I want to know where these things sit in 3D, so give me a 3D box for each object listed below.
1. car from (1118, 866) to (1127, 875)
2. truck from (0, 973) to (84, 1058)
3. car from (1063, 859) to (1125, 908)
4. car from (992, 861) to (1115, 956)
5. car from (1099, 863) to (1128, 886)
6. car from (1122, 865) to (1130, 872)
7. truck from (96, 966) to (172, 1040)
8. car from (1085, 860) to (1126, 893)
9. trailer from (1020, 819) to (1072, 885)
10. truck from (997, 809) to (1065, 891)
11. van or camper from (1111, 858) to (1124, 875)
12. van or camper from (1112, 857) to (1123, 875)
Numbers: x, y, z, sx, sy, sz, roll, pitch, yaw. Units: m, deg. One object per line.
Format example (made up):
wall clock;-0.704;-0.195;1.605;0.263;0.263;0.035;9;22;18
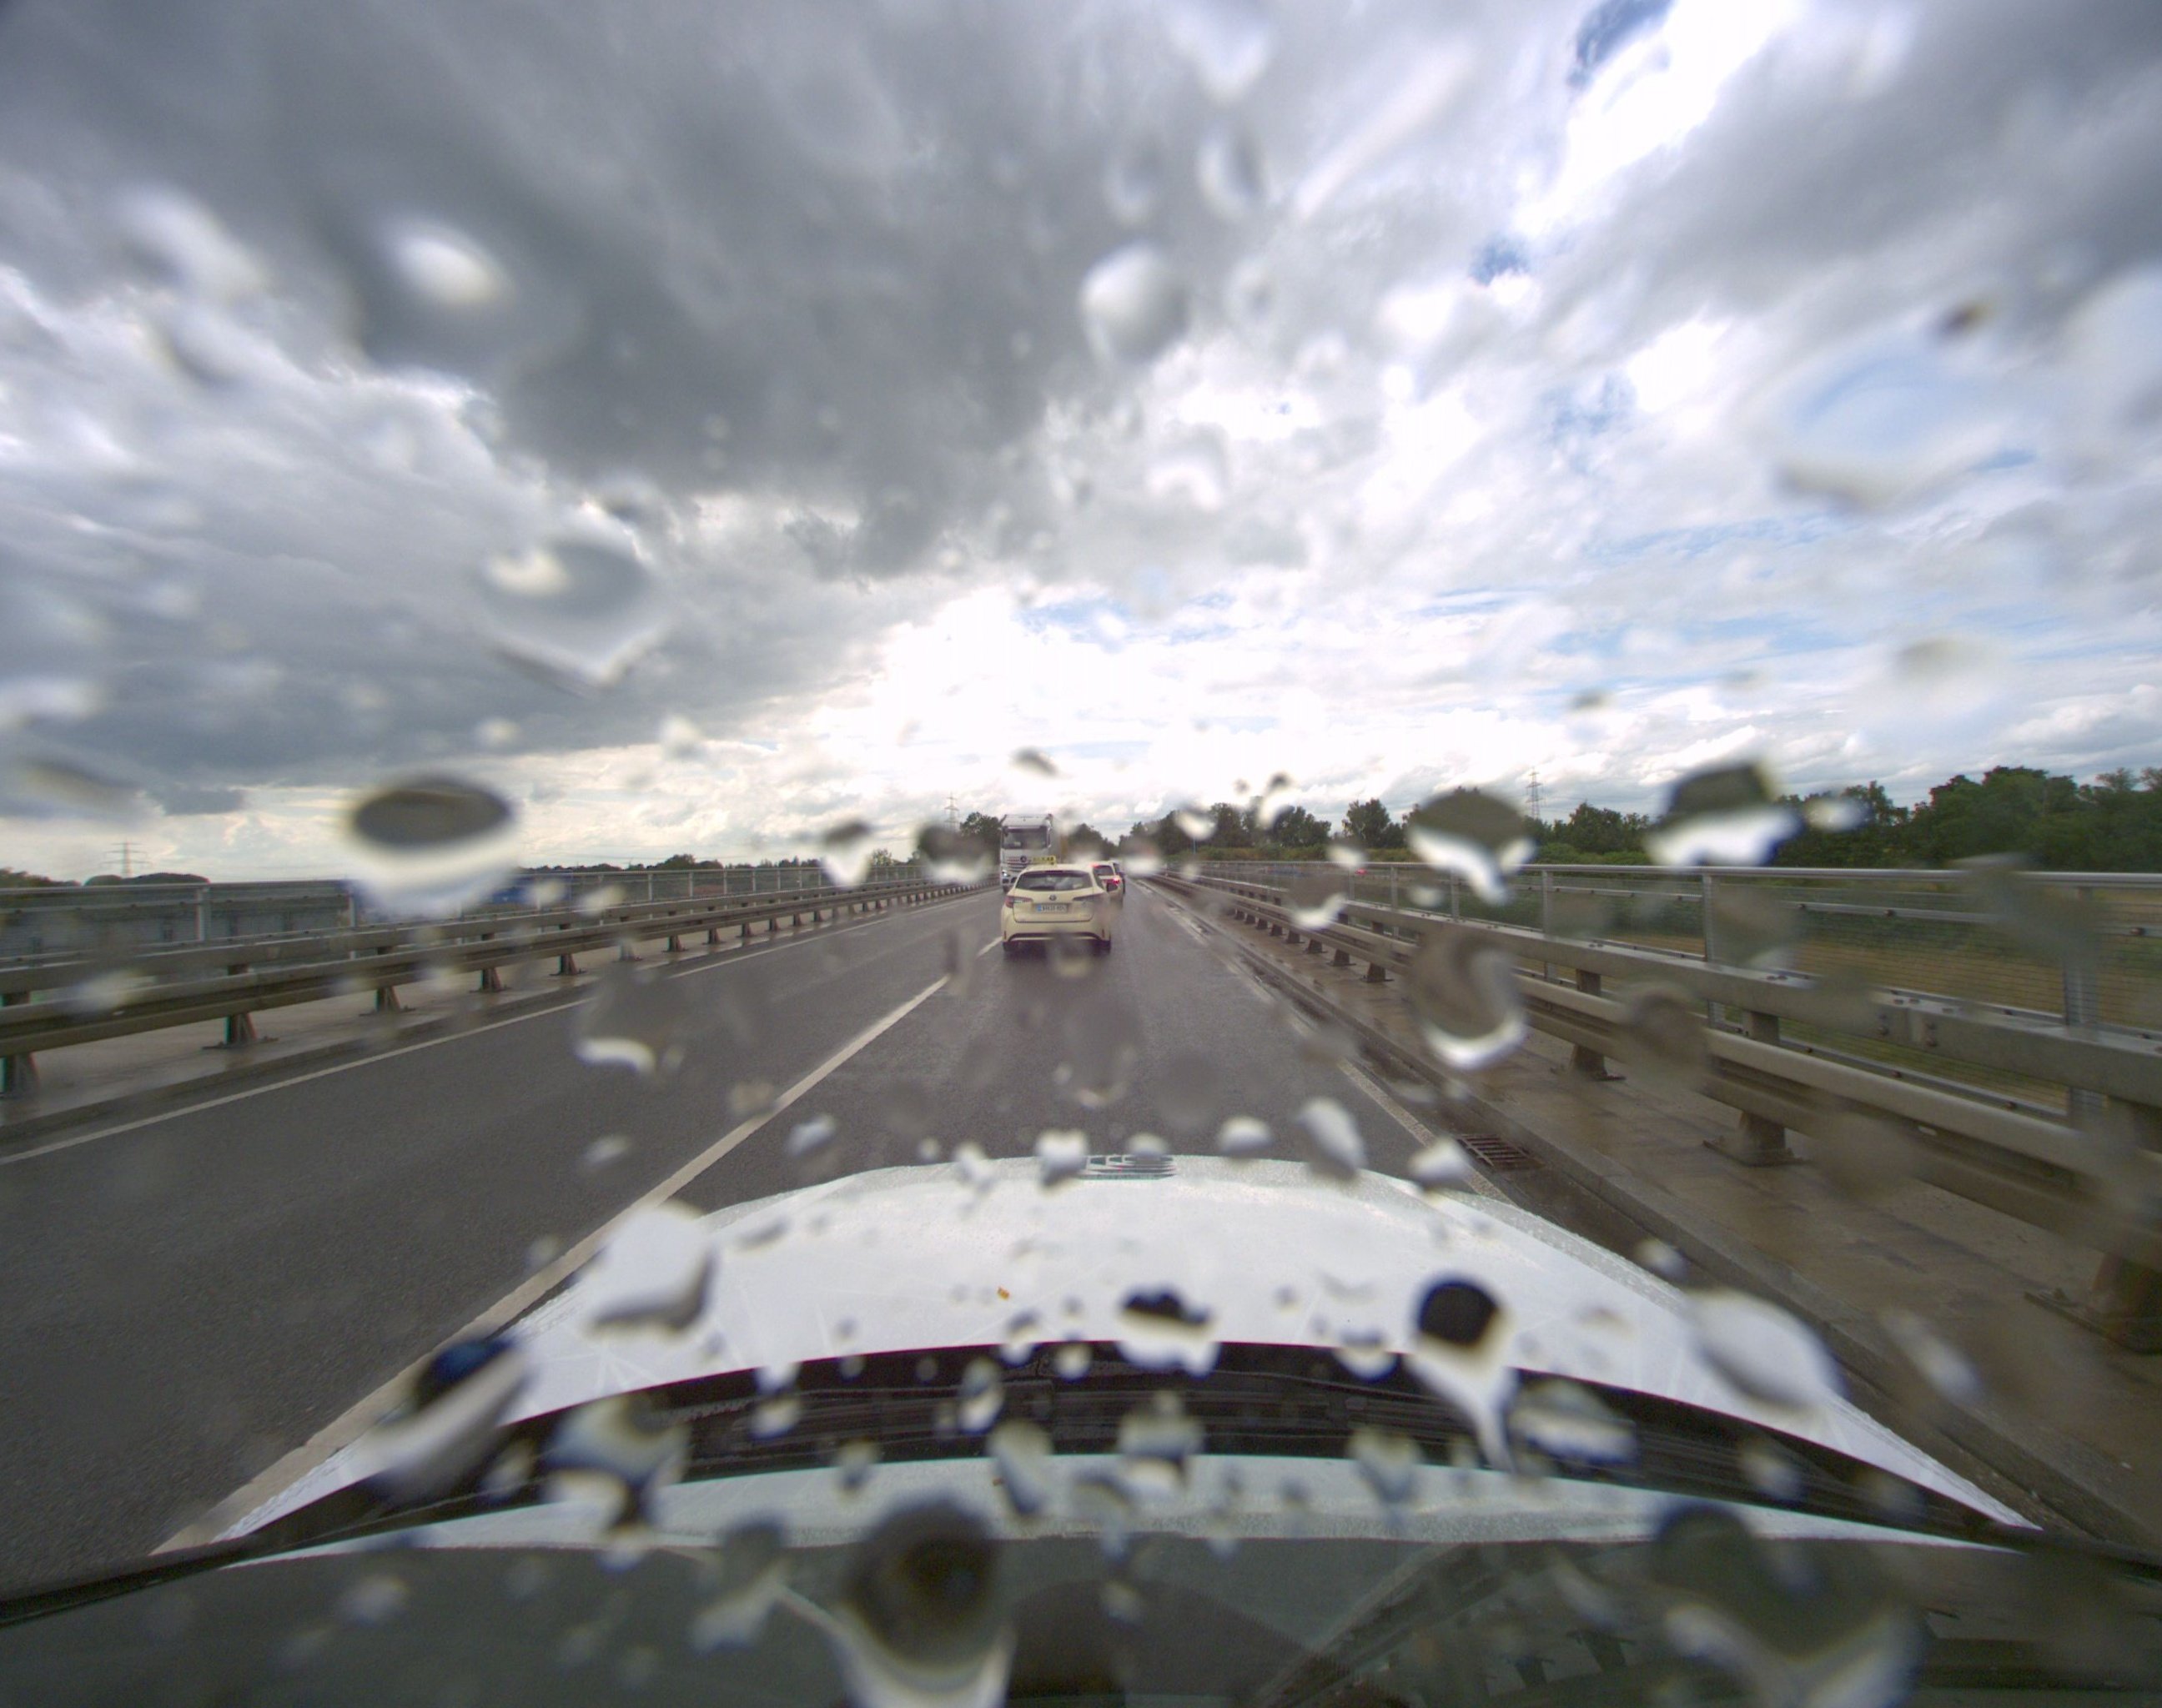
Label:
car;9.688;3.788;189.936;1.986;2.014;4.001;0;-1;1
truck;-69.533;10.553;54.124;2.450;4.001;11.035;0;-1;-42
car;0.451;0.896;26.381;1.847;1.443;4.173;0;0;2
car;-0.346;0.848;14.410;1.847;1.394;4.173;0;0;2
car;2.150;1.319;53.981;1.847;1.443;4.173;0;0;2
car;12.253;3.914;220.477;1.986;2.014;4.001;0;-1;1
truck;-72.341;11.227;62.410;2.450;4.001;11.035;0;-1;-42
car;1.173;1.025;38.390;1.847;1.443;4.173;0;0;2
trailer;-2.210;-0.094;54.574;2.672;4.075;8.489;-1;0;2
truck;-2.579;-0.147;45.300;2.672;4.017;10.060;-1;0;2
van or camper;6.349;2.193;142.032;2.324;2.864;6.309;0;-1;2
van or camper;7.355;2.450;165.008;2.324;3.563;6.309;0;-1;2
